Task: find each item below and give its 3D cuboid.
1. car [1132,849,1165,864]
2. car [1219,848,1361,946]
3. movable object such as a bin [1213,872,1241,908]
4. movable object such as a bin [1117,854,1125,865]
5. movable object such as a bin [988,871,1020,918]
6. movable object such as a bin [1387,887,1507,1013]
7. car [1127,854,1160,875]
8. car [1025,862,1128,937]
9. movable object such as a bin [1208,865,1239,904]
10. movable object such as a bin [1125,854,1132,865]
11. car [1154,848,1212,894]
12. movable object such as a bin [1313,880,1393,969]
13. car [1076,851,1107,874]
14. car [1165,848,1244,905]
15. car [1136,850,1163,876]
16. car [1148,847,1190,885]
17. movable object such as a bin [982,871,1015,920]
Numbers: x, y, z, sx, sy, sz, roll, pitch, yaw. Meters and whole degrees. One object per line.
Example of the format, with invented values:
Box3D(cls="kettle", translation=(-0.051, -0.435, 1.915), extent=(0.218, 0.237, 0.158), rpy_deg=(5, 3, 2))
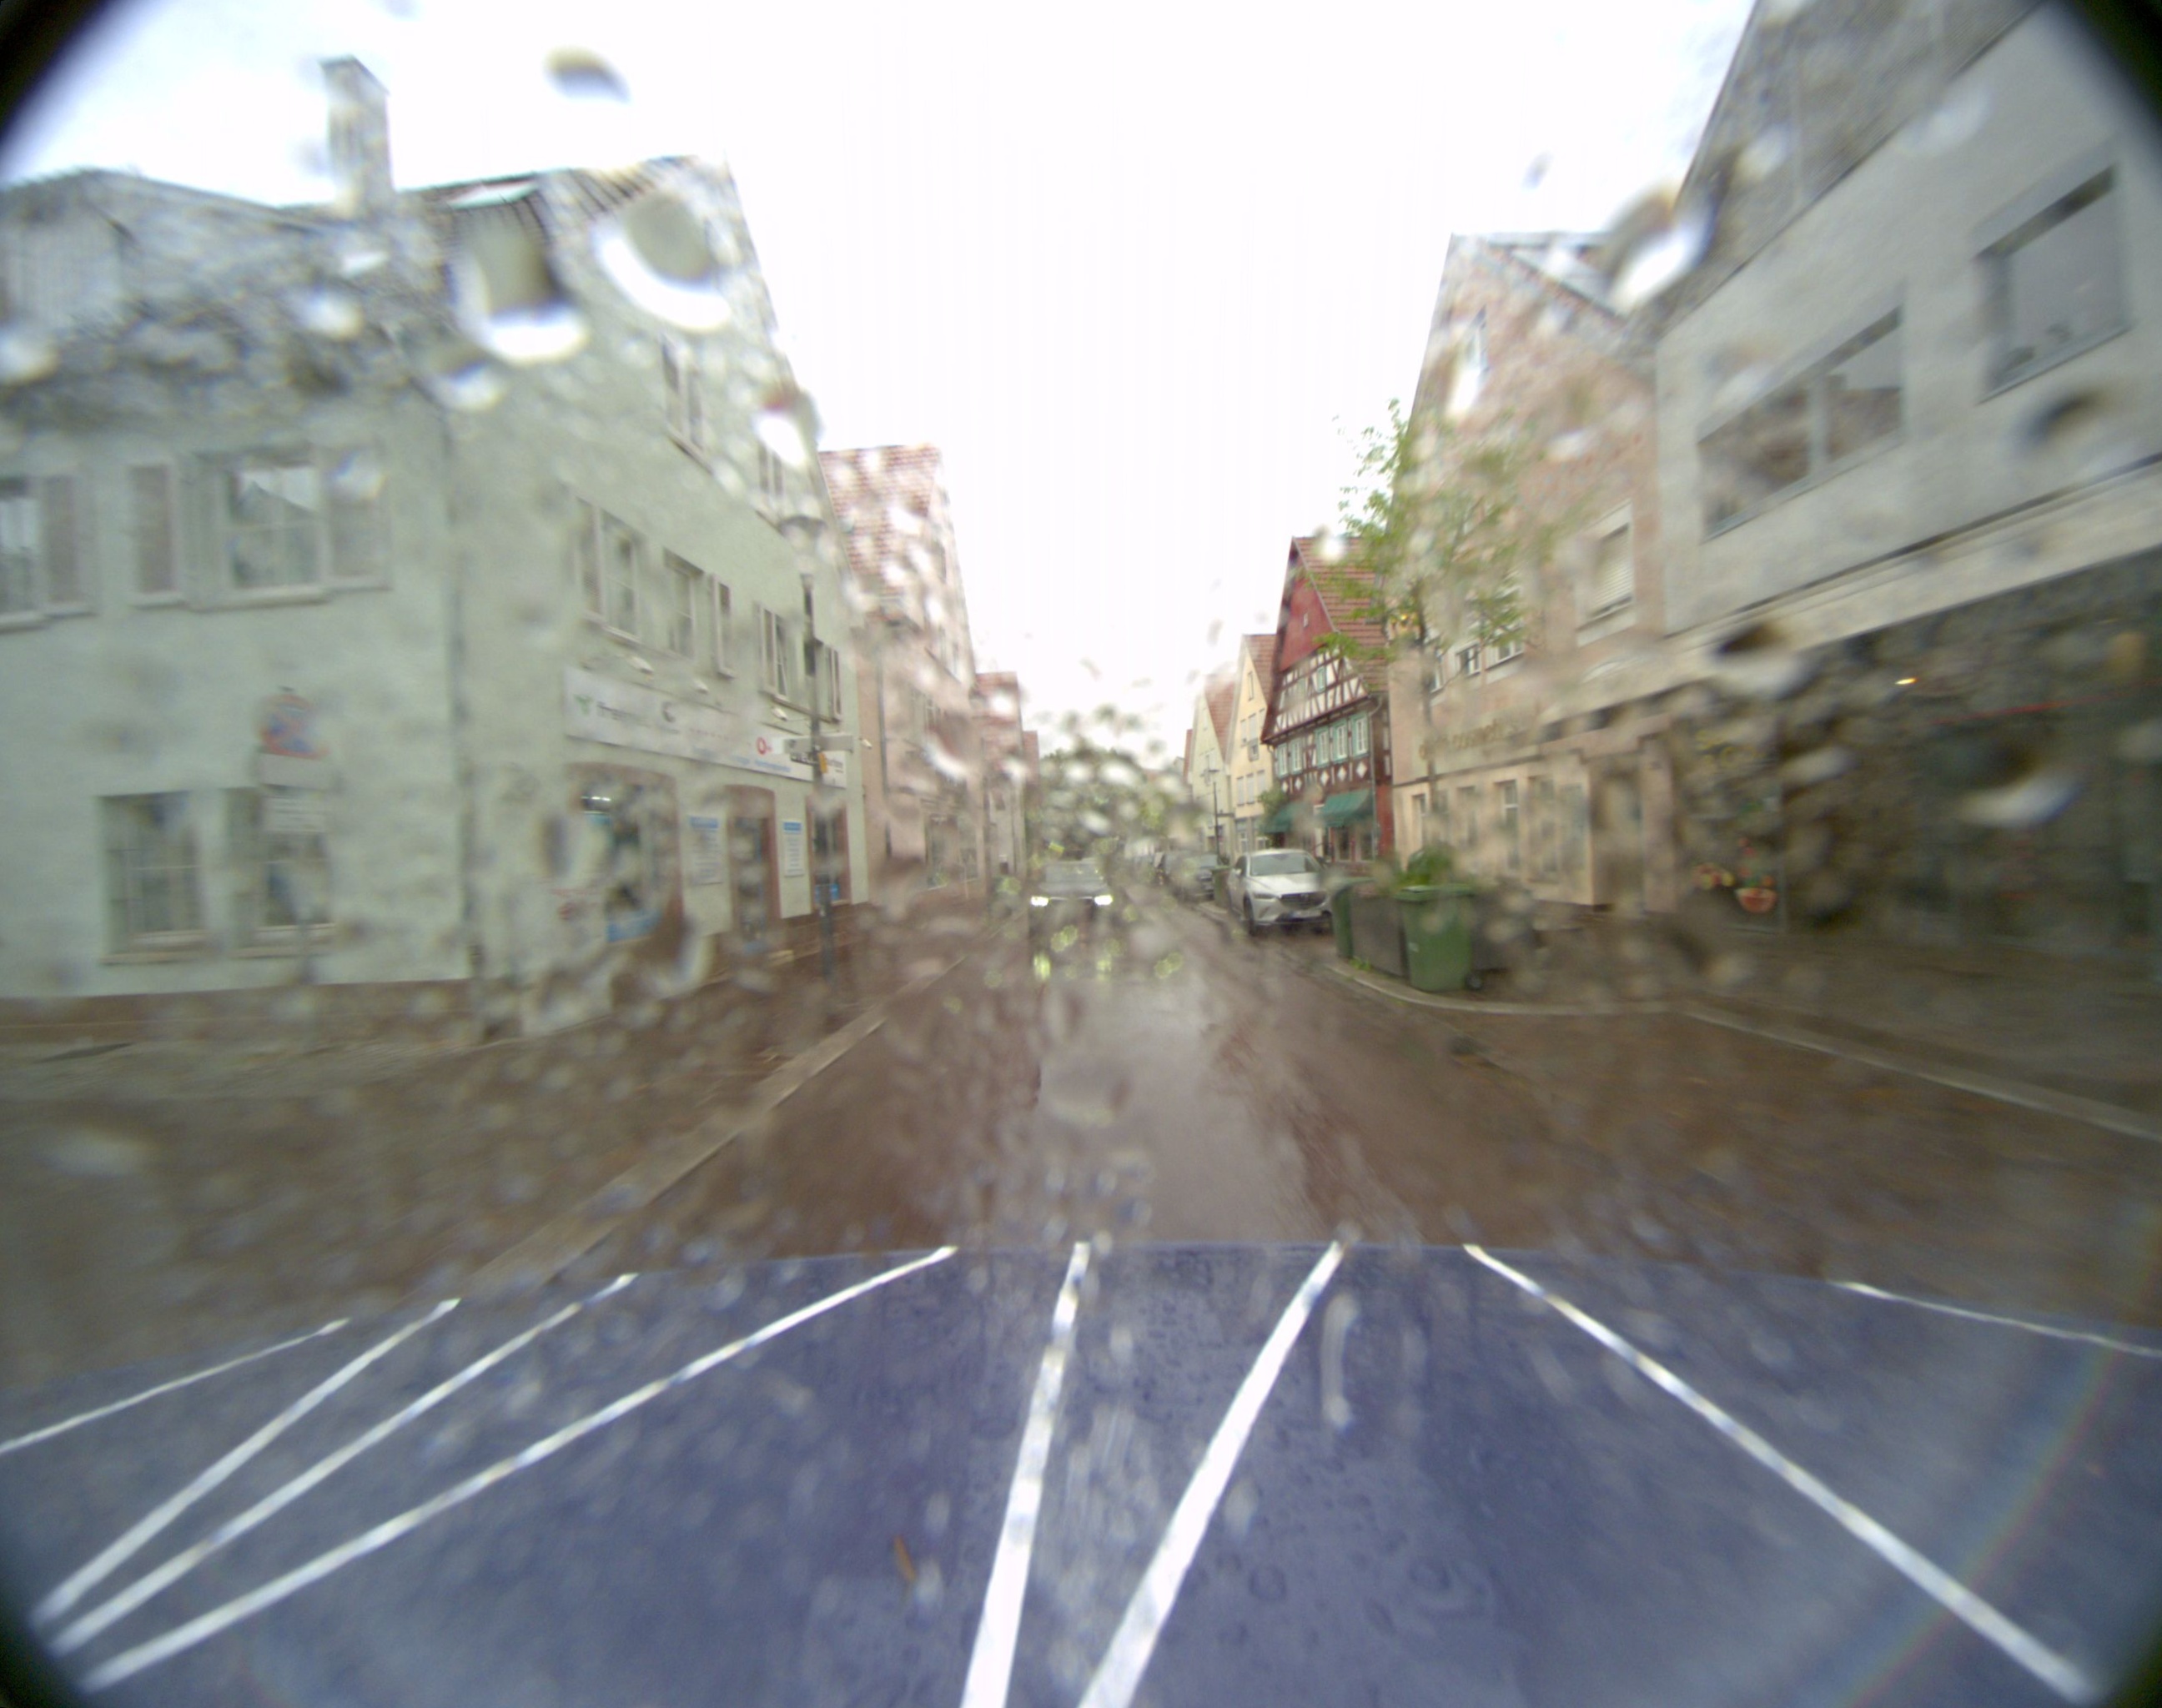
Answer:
Box3D(cls="car", translation=(7.625, 0.247, 85.228), extent=(1.691, 1.530, 4.412), rpy_deg=(-1, 0, 36))
Box3D(cls="car", translation=(3.950, 0.723, 15.066), extent=(1.831, 1.557, 4.000), rpy_deg=(-2, 1, 3))
Box3D(cls="movable object such as a bin", translation=(4.087, 1.000, 21.289), extent=(0.658, 0.950, 0.562), rpy_deg=(-2, 2, 4))
Box3D(cls="movable object such as a bin", translation=(4.266, 0.585, 81.246), extent=(0.545, 1.143, 0.586), rpy_deg=(-1, 2, 28))
Box3D(cls="movable object such as a bin", translation=(-2.042, 1.078, 20.305), extent=(0.720, 1.194, 0.573), rpy_deg=(-2, 2, 3))
Box3D(cls="movable object such as a bin", translation=(3.651, 0.937, 7.628), extent=(0.817, 1.100, 0.610), rpy_deg=(-6, 2, -3))
Box3D(cls="car", translation=(4.565, 0.784, 55.997), extent=(1.806, 1.424, 4.627), rpy_deg=(-2, -1, -3))
Box3D(cls="car", translation=(-0.241, 0.931, 17.588), extent=(1.999, 1.398, 4.892), rpy_deg=(-3, 0, -4))
Box3D(cls="movable object such as a bin", translation=(4.119, 0.874, 21.976), extent=(0.749, 1.076, 0.763), rpy_deg=(-2, 2, 4))
Box3D(cls="movable object such as a bin", translation=(5.019, 0.579, 80.630), extent=(0.477, 1.162, 0.489), rpy_deg=(-1, 2, 28))
Box3D(cls="car", translation=(4.206, 0.647, 32.074), extent=(1.838, 1.665, 4.539), rpy_deg=(-2, 1, 1))
Box3D(cls="movable object such as a bin", translation=(3.651, 0.928, 10.233), extent=(0.817, 1.100, 0.610), rpy_deg=(-2, 2, -3))
Box3D(cls="car", translation=(0.794, 0.569, 54.081), extent=(1.998, 1.445, 4.000), rpy_deg=(-2, 1, 3))
Box3D(cls="car", translation=(4.091, 0.677, 25.765), extent=(1.838, 1.543, 4.280), rpy_deg=(-6, 1, 0))
Box3D(cls="car", translation=(4.533, 0.582, 50.504), extent=(1.596, 1.537, 3.977), rpy_deg=(-2, 1, 3))
Box3D(cls="car", translation=(4.466, 0.586, 39.287), extent=(1.776, 1.665, 4.479), rpy_deg=(-4, 1, 3))
Box3D(cls="movable object such as a bin", translation=(-2.124, 1.063, 19.629), extent=(0.720, 1.194, 0.578), rpy_deg=(-2, 2, 3))
